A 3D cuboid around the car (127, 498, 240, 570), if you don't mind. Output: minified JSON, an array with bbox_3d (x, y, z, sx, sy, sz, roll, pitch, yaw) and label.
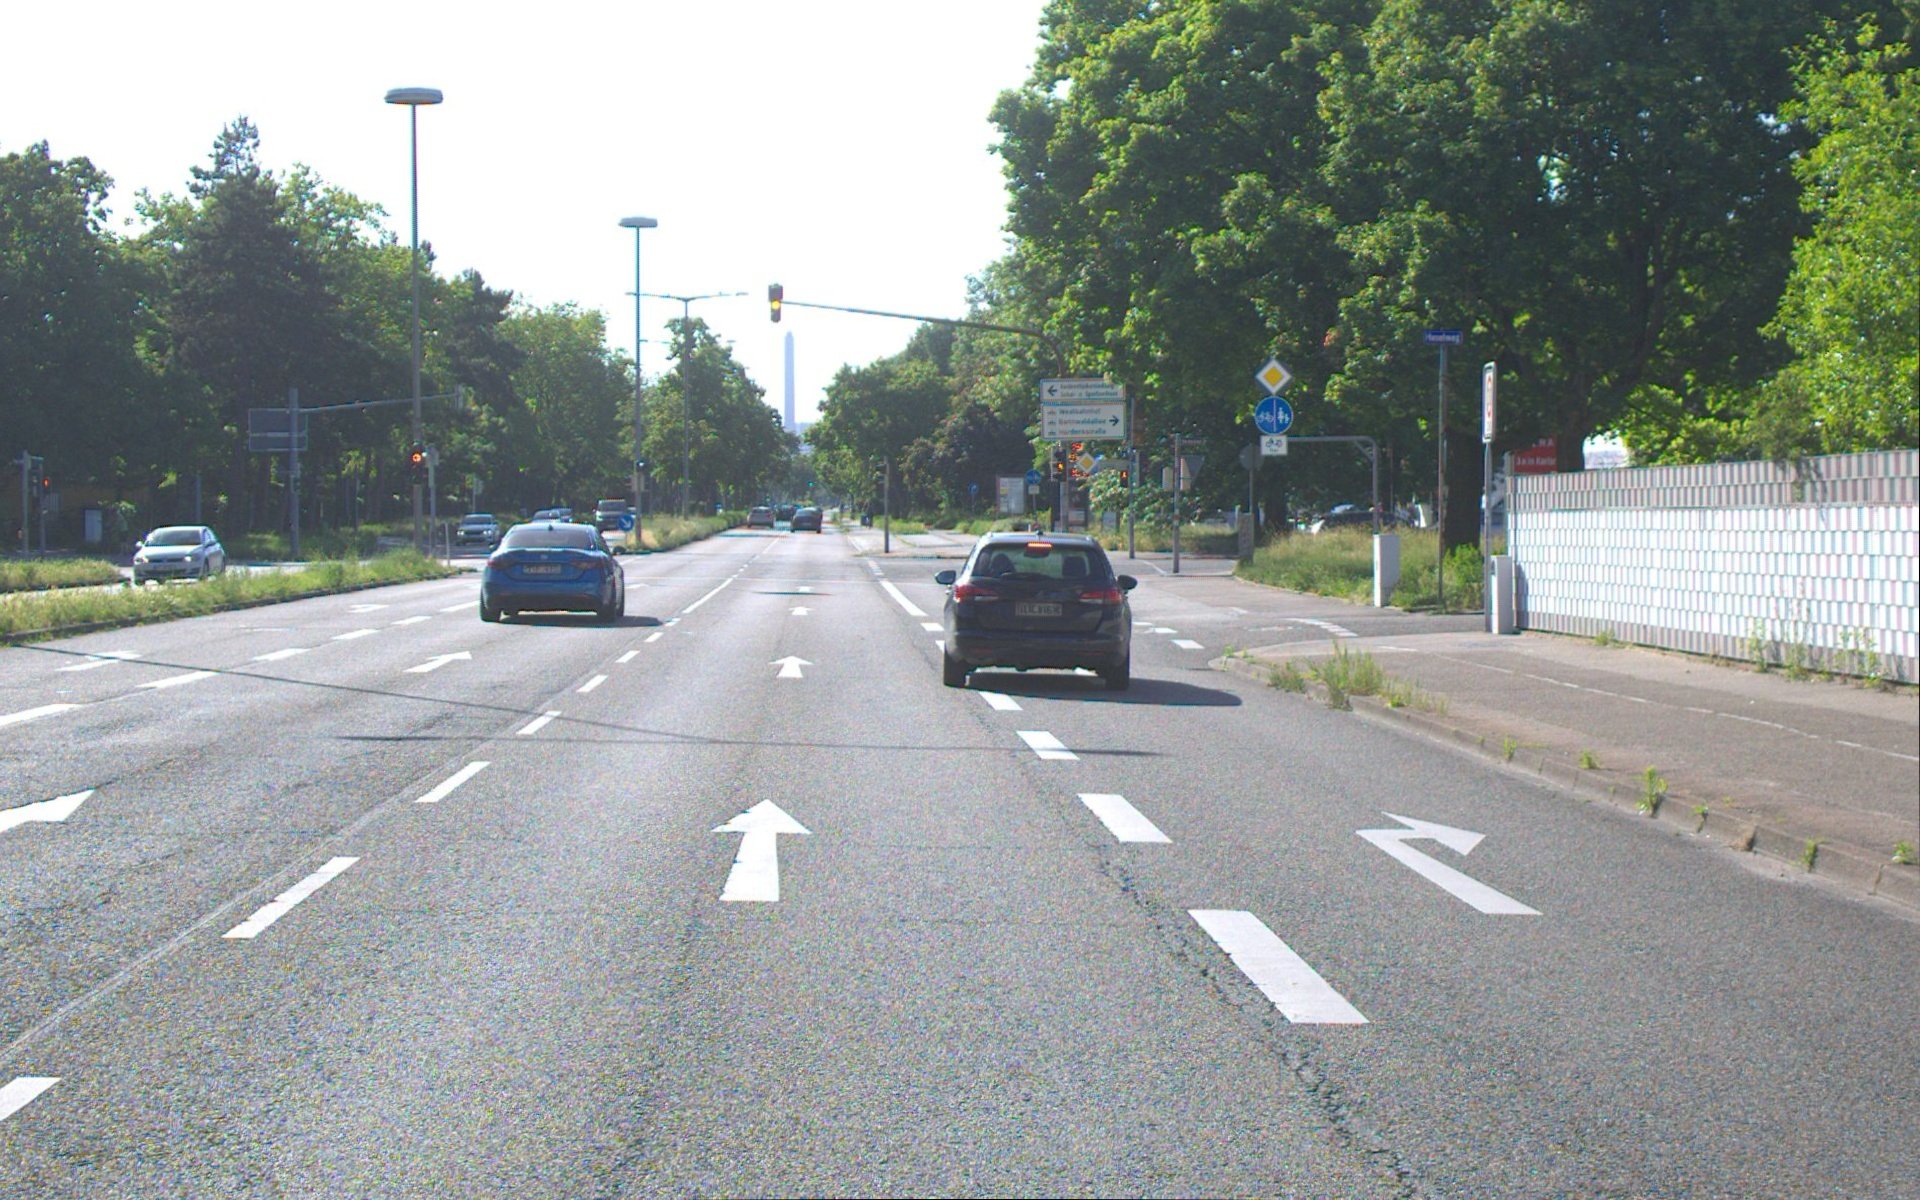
[{"bbox_3d":[-19.615,-1.653,87.016,1.912,1.697,4.408,2,1,-2],"label":"car"}]

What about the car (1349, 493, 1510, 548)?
[{"bbox_3d":[13.892,-2.348,101.626,4.620,1.568,1.999,1,1,9],"label":"car"}]

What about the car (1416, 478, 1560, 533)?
[{"bbox_3d":[14.915,-2.673,97.207,3.828,1.454,1.738,1,1,2],"label":"car"}]

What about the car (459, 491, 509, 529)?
[{"bbox_3d":[-22.631,-4.250,163.431,1.864,1.678,4.261,3,1,-2],"label":"car"}]

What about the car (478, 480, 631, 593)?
[{"bbox_3d":[-5.838,-0.925,49.909,1.888,1.546,4.001,1,1,-2],"label":"car"}]

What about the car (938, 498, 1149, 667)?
[{"bbox_3d":[0.753,-0.198,33.265,1.755,1.504,3.809,1,1,-2],"label":"car"}]

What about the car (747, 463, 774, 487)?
[{"bbox_3d":[-13.832,-8.651,238.358,1.824,1.609,3.841,-1,2,-3],"label":"car"}]

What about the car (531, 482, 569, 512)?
[{"bbox_3d":[-24.025,-6.033,201.643,1.864,1.678,4.001,2,1,-2],"label":"car"}]

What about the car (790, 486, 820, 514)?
[{"bbox_3d":[-9.435,-6.044,209.031,1.732,1.579,3.841,3,1,-3],"label":"car"}]

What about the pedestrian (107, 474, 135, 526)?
[{"bbox_3d":[-30.281,-3.609,124.090,0.846,1.829,0.549,1,2,2],"label":"pedestrian"}]
